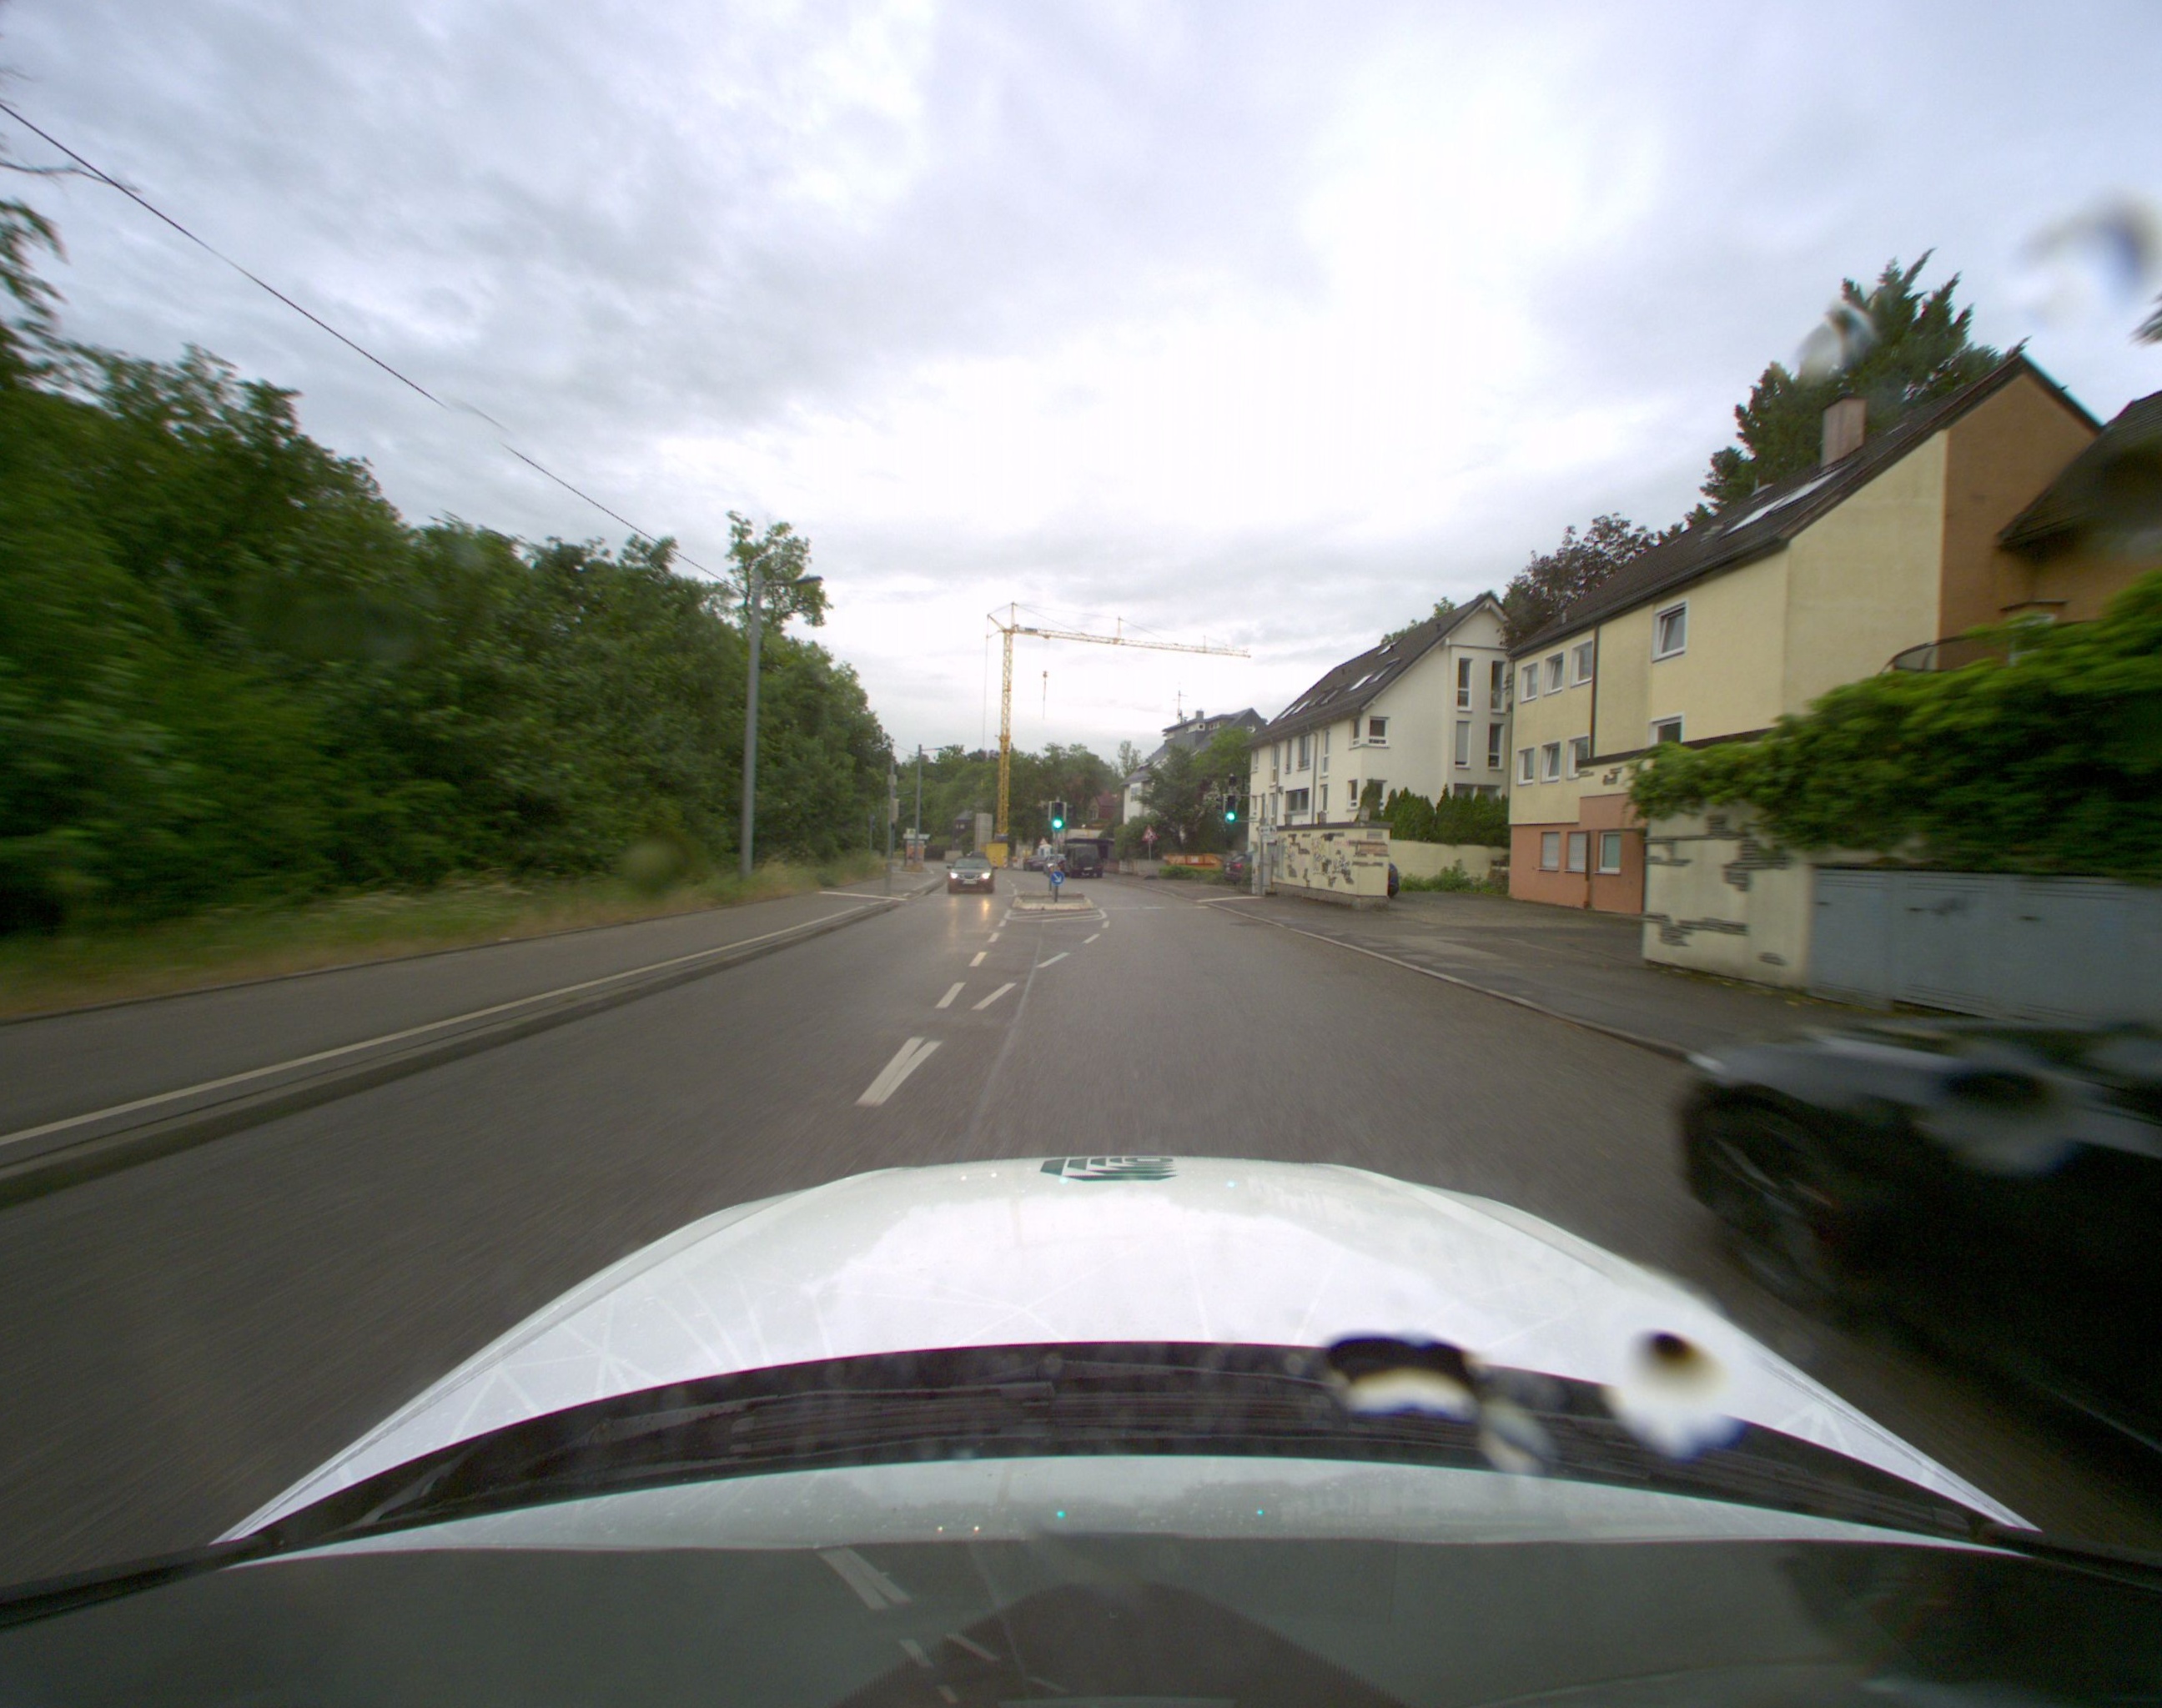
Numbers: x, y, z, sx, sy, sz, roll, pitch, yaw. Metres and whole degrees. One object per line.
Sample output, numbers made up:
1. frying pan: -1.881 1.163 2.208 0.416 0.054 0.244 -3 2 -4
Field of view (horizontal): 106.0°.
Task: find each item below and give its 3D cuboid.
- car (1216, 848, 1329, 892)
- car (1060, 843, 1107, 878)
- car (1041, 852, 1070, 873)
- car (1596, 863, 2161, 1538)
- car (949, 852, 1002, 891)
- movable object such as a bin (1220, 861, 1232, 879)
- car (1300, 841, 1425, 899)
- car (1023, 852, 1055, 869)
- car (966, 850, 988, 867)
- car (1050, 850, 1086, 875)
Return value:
1. car: 8.258 0.683 35.320 4.325 1.596 1.986 3 -1 -8
2. car: 0.118 0.381 51.258 1.994 2.013 4.937 -1 0 -11
3. car: -1.915 0.624 60.443 1.673 1.457 3.373 0 0 -11
4. car: 3.187 0.747 1.417 1.745 1.443 4.600 1 -1 1
5. car: -4.145 0.676 32.555 1.739 1.460 4.409 0 0 -3
6. movable object such as a bin: 8.047 0.888 45.158 0.507 0.941 0.593 0 0 -10
7. car: 8.831 0.494 25.997 1.931 1.596 4.329 3 -1 -9
8. car: -3.922 0.560 74.476 1.935 1.422 4.812 1 0 -15
9. car: -11.154 0.445 87.030 1.934 1.751 3.982 1 0 -13
10. car: -0.963 0.553 56.197 1.931 1.596 4.382 -2 0 -8
